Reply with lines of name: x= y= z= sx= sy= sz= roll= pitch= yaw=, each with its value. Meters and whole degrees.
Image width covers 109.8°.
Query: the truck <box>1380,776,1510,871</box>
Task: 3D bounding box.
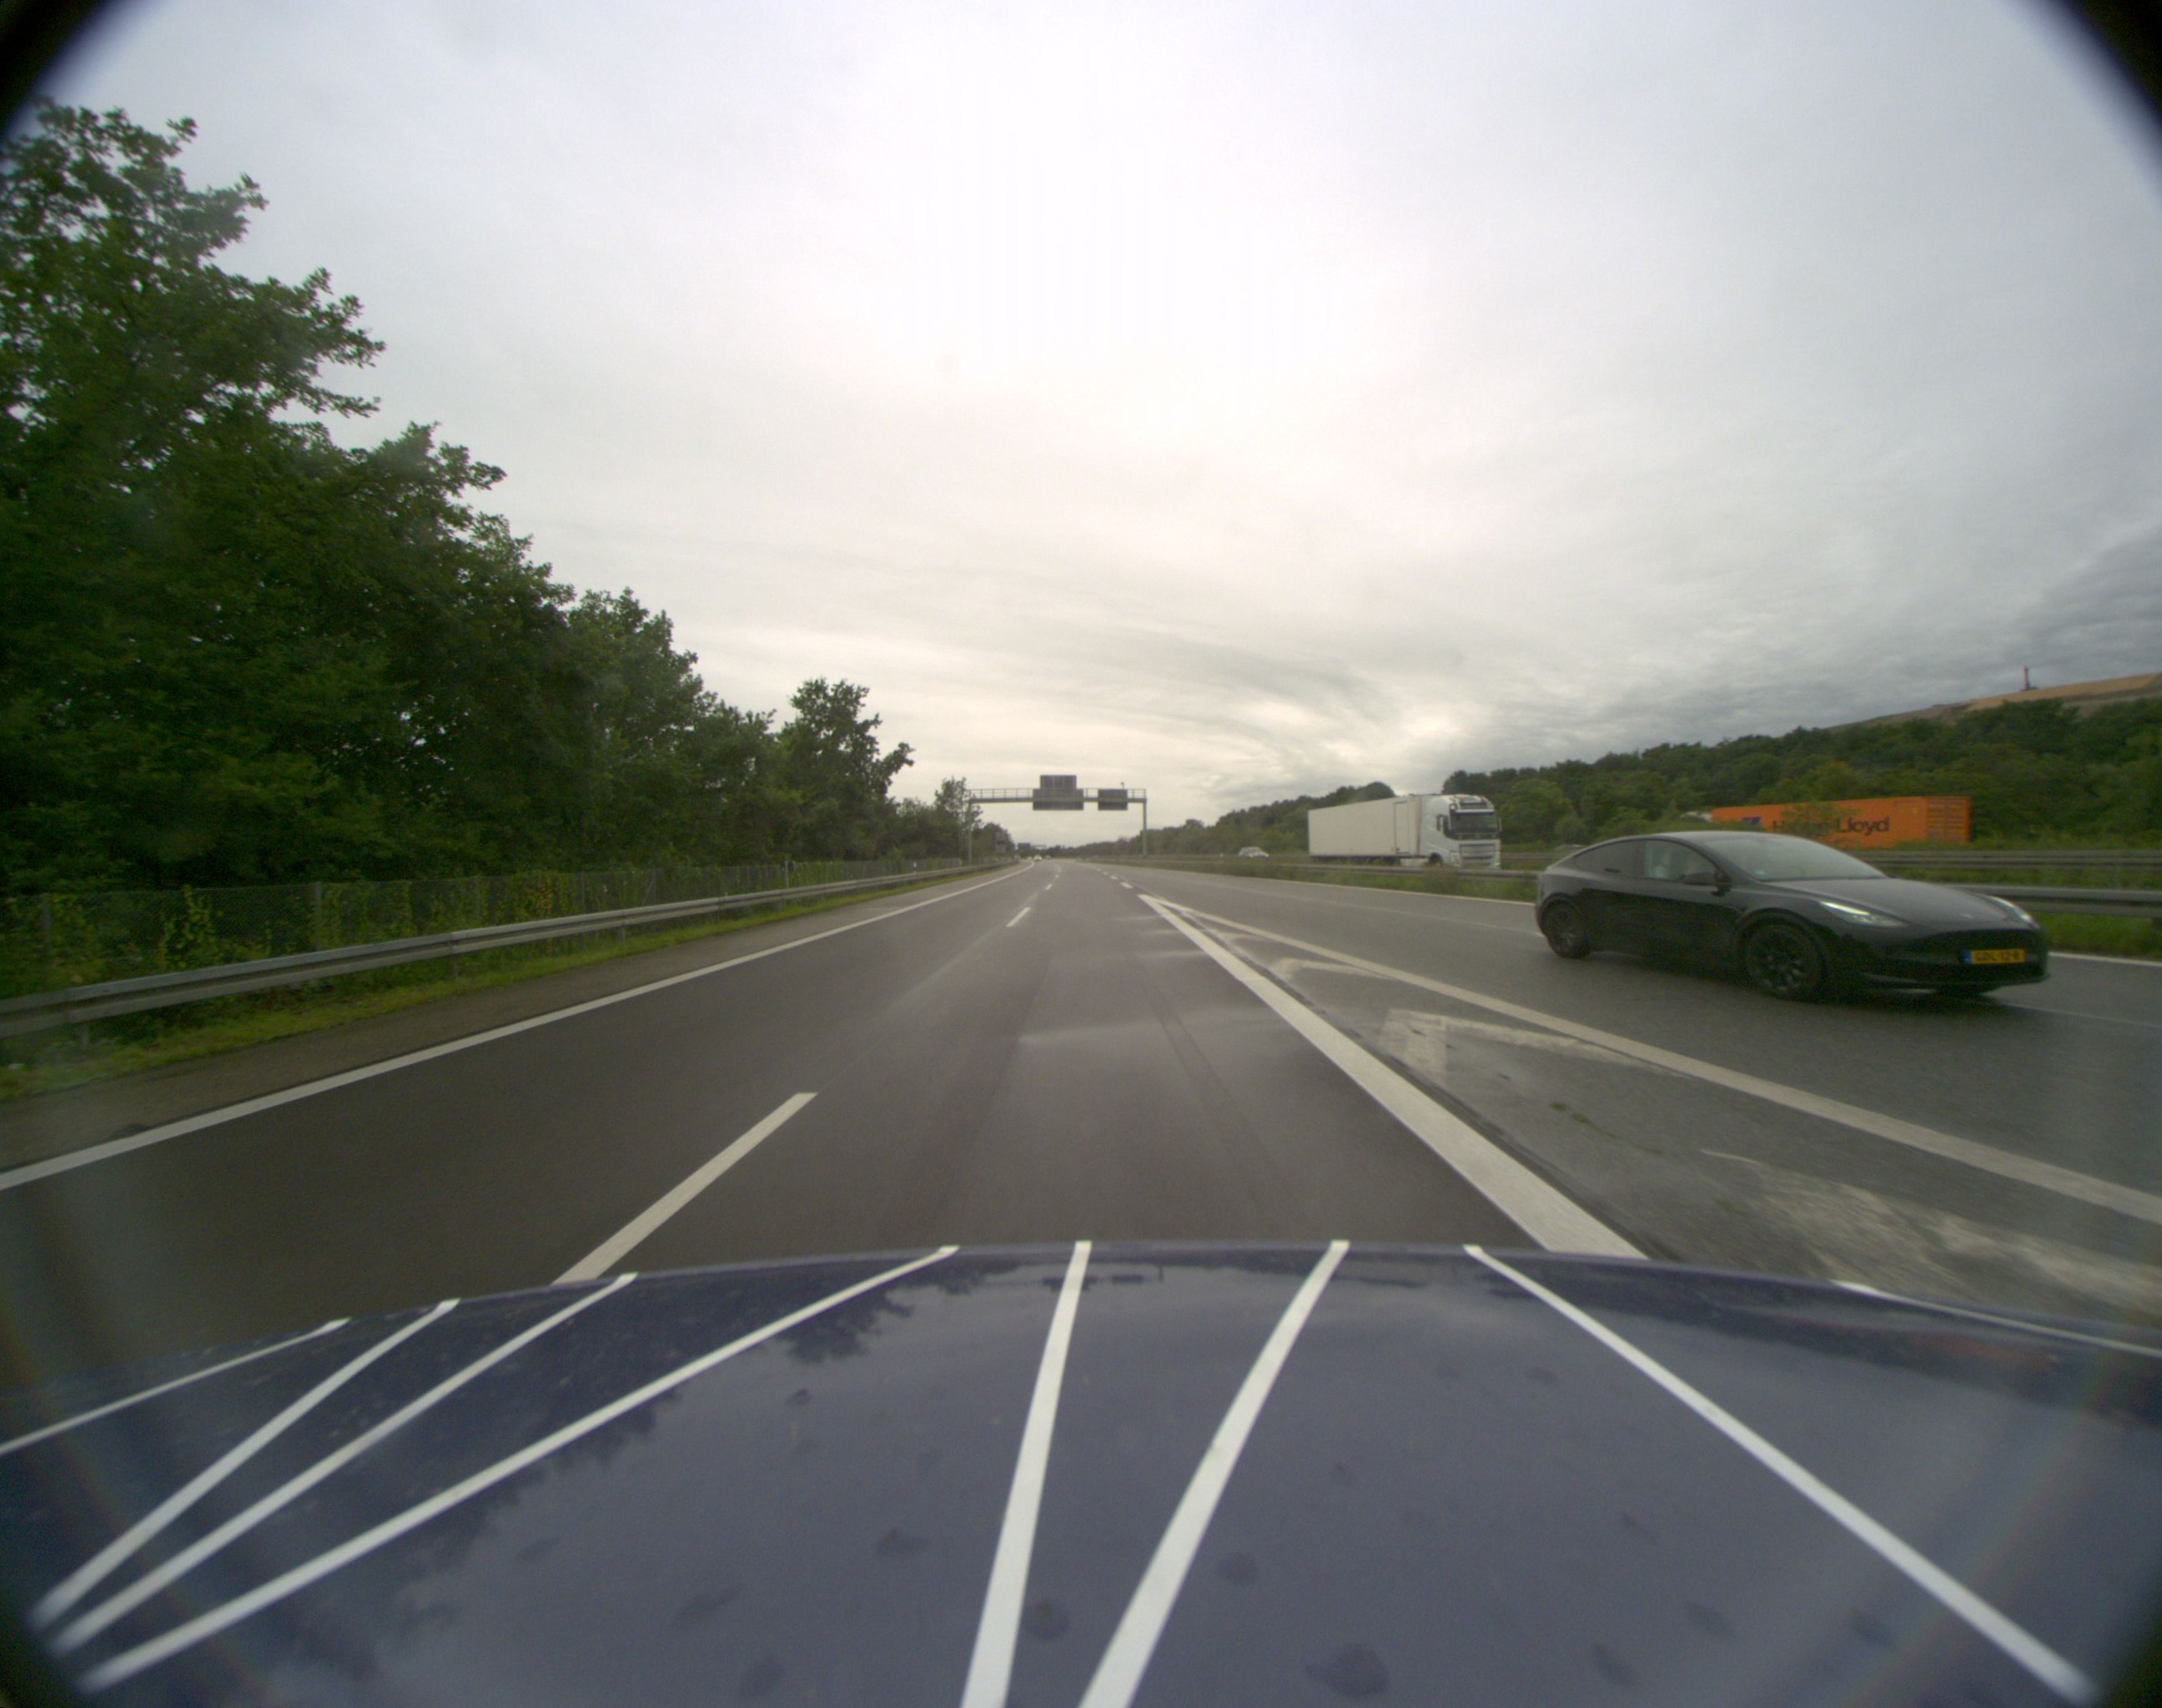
truck: x=17.546 y=-1.394 z=37.185 sx=2.774 sy=4.111 sz=6.441 roll=-2 pitch=1 yaw=-5

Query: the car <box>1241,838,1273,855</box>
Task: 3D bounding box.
car: x=18.456 y=-0.769 z=79.915 sx=1.904 sy=1.641 sz=4.482 roll=-2 pitch=1 yaw=-5

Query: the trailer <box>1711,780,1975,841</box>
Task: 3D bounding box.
trailer: x=45.283 y=-2.405 z=46.208 sx=2.693 sy=3.056 sz=12.558 roll=-3 pitch=1 yaw=-5

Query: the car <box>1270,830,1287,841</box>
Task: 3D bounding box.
car: x=36.223 y=-3.318 z=139.208 sx=1.703 sy=1.873 sz=3.997 roll=-3 pitch=1 yaw=-4

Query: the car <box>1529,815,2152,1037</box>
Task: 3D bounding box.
car: x=7.255 y=0.506 z=8.155 sx=1.967 sy=1.628 sz=4.551 roll=-3 pitch=1 yaw=-4

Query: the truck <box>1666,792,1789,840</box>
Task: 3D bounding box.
truck: x=44.740 y=-2.528 z=52.865 sx=2.693 sy=3.056 sz=6.451 roll=-3 pitch=1 yaw=-5

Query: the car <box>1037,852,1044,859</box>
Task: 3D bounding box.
car: x=-11.222 y=0.390 z=211.994 sx=1.630 sy=1.632 sz=3.774 roll=-3 pitch=1 yaw=-6

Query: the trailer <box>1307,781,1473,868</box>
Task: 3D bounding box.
trailer: x=17.009 y=-1.514 z=43.677 sx=2.774 sy=4.111 sz=13.944 roll=-2 pitch=1 yaw=-5
